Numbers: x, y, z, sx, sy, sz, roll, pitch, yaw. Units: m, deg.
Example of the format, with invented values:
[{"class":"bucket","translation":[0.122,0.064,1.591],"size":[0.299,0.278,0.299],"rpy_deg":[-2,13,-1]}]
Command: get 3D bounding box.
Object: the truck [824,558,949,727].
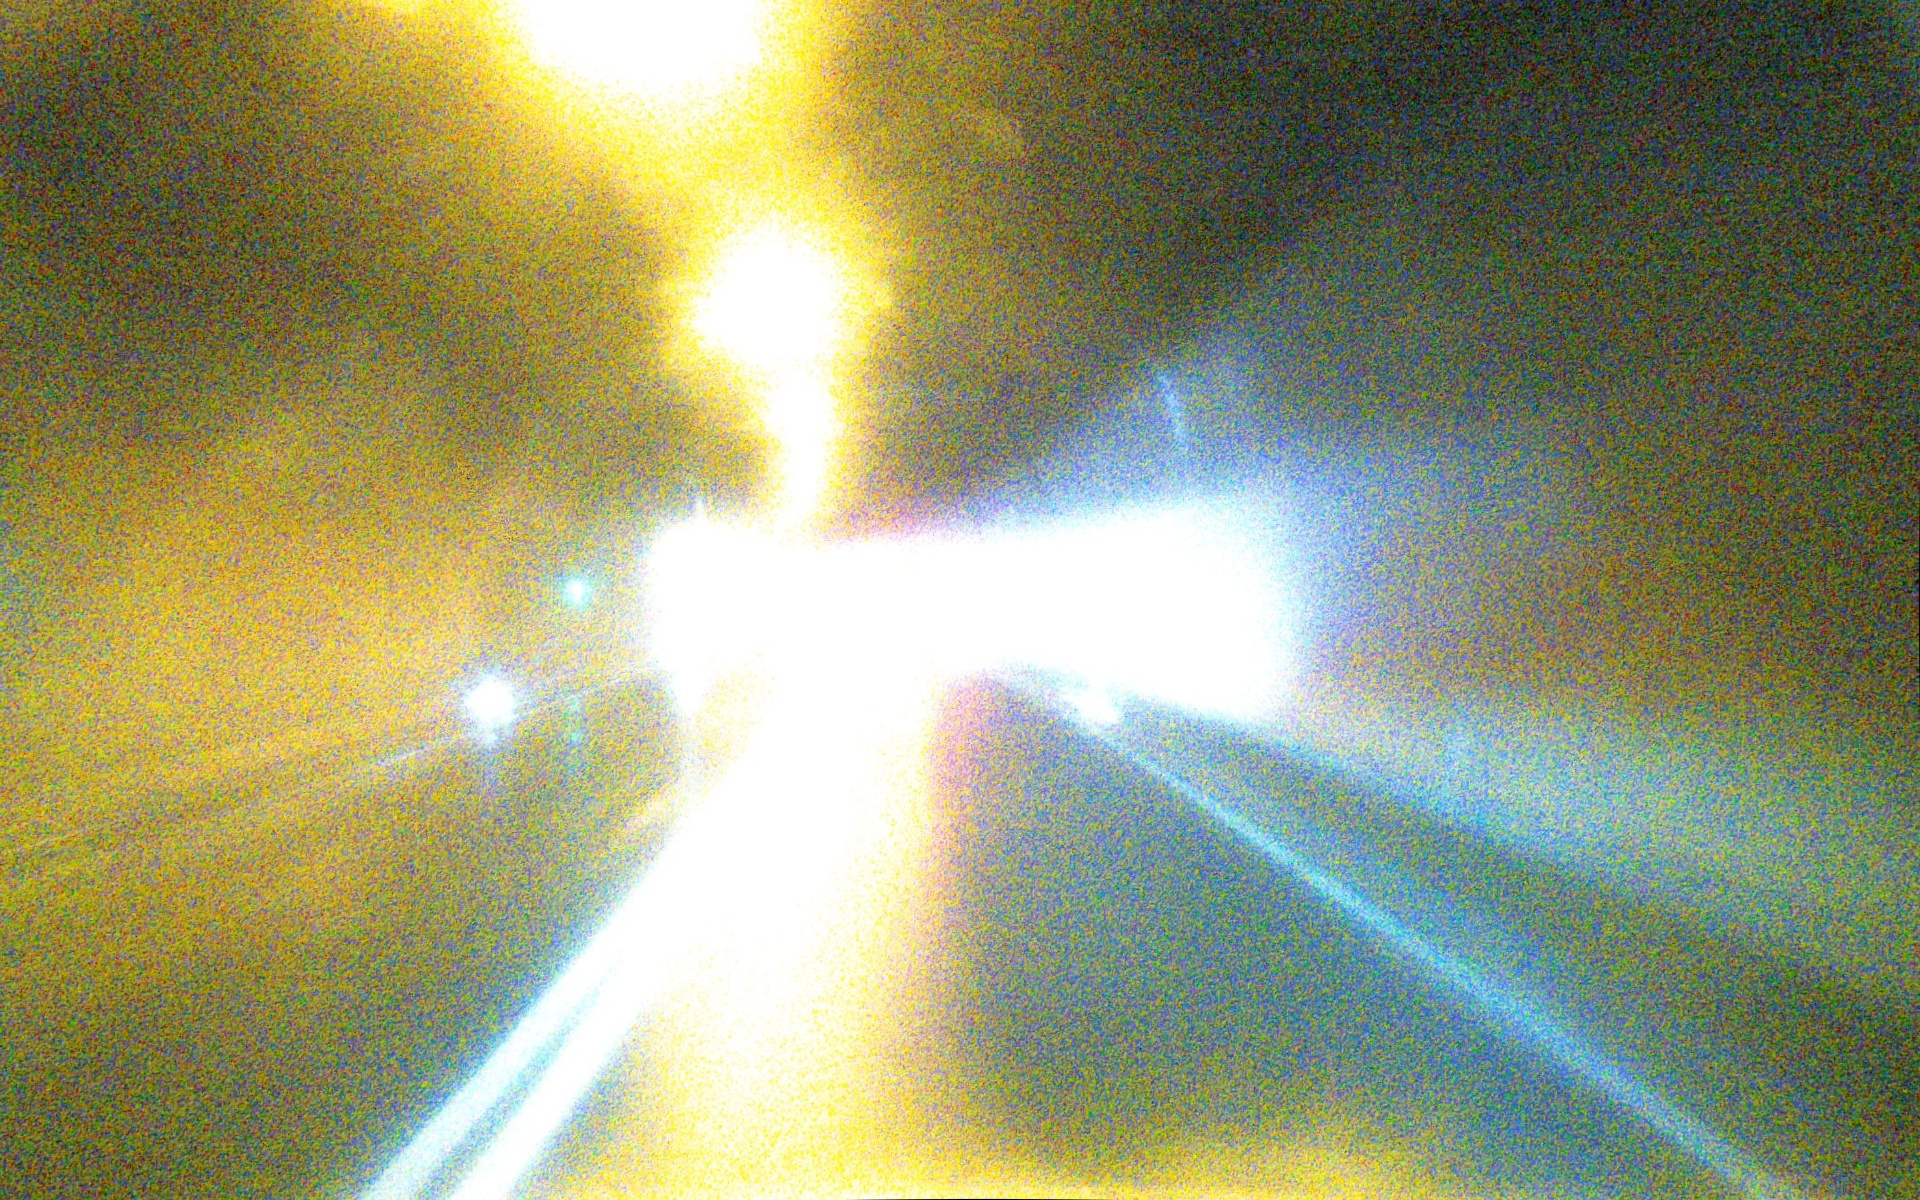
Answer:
[{"class":"truck","translation":[-1.553,0.792,34.430],"size":[2.217,3.063,7.410],"rpy_deg":[2,0,-3]}]
